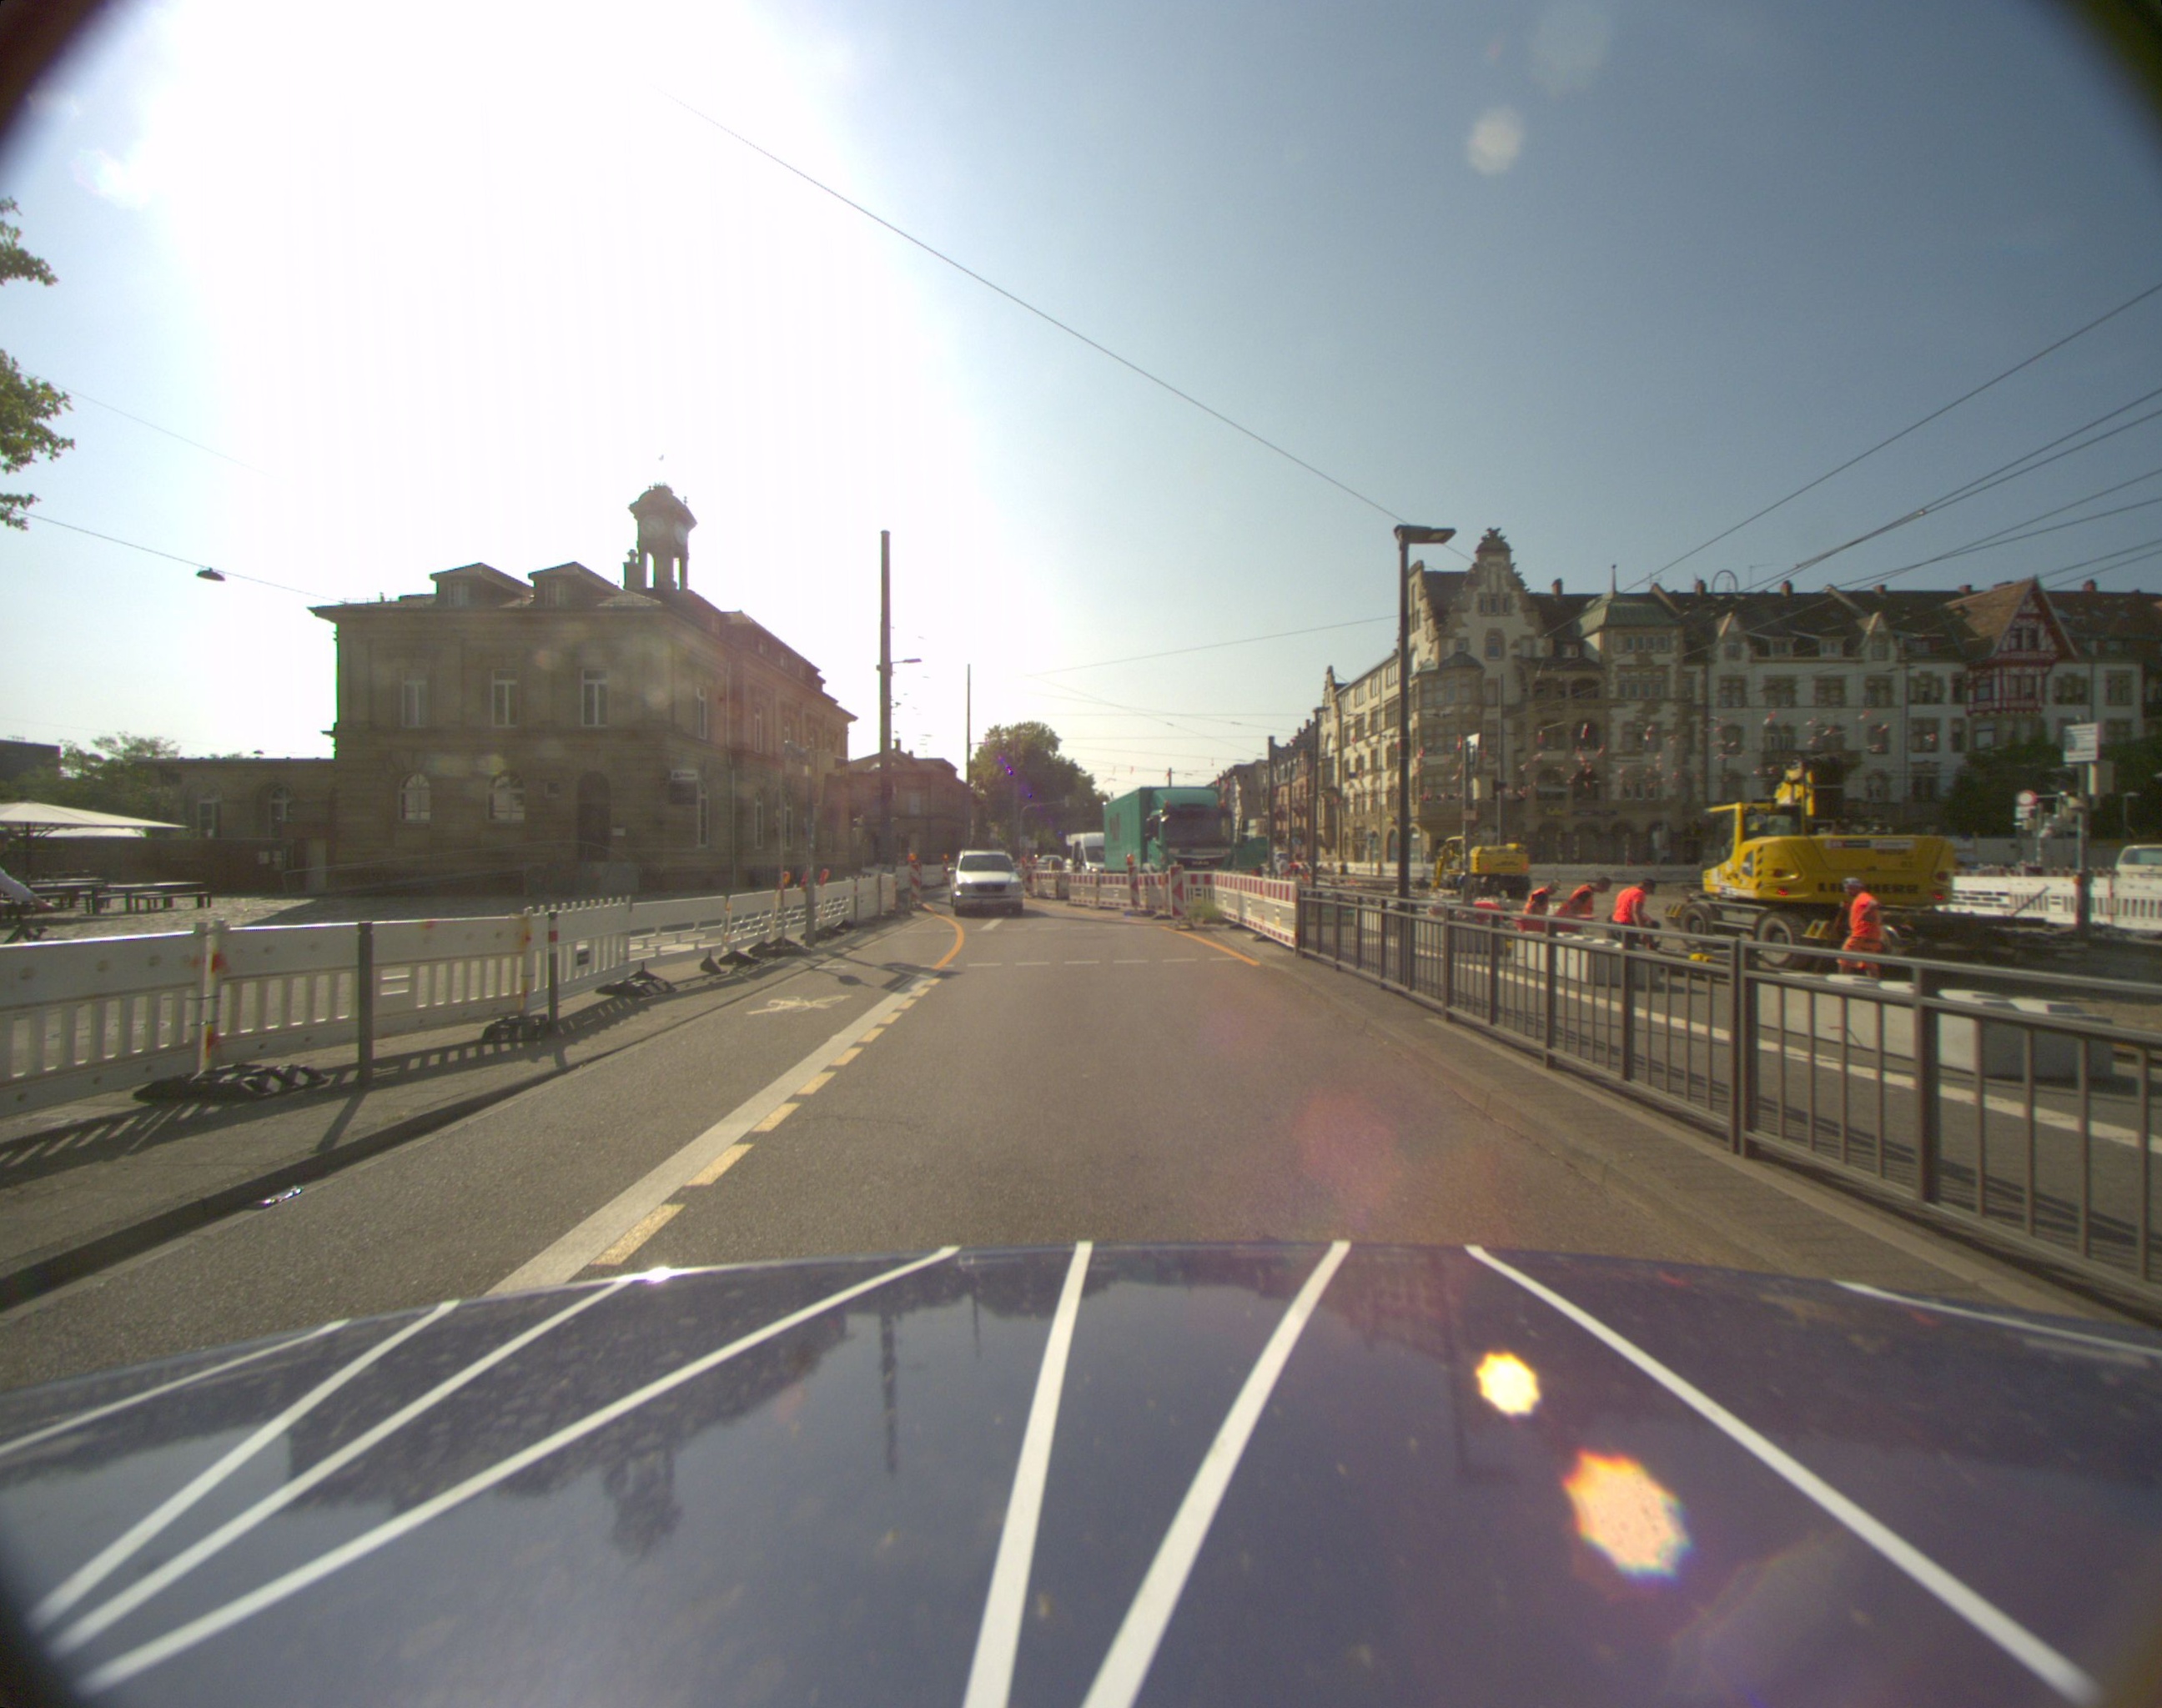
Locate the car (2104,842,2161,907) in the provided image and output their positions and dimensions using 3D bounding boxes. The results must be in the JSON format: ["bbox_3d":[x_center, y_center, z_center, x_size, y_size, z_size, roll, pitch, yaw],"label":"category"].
[{"bbox_3d":[36.356,0.660,24.495,5.119,2.018,1.815,0,0,-9],"label":"car"}]

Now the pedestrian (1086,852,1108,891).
[{"bbox_3d":[0.820,0.897,39.503,0.734,2.002,0.909,1,1,33],"label":"pedestrian"}]

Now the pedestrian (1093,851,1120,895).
[{"bbox_3d":[0.987,0.738,29.519,0.705,1.684,0.767,1,1,37],"label":"pedestrian"}]

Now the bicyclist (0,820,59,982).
[{"bbox_3d":[-10.594,0.448,7.129,0.719,1.534,0.955,0,0,-1],"label":"bicyclist"}]

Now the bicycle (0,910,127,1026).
[{"bbox_3d":[-10.594,1.111,7.204,0.719,1.036,1.903,0,0,-1],"label":"bicycle"}]

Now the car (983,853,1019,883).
[{"bbox_3d":[-4.829,0.820,46.539,1.999,1.685,5.224,0,0,-4],"label":"car"}]

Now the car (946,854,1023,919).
[{"bbox_3d":[-2.798,0.845,22.404,2.000,1.686,5.222,0,0,-6],"label":"car"}]

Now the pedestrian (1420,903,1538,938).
[{"bbox_3d":[8.038,1.339,15.420,1.906,0.632,0.913,0,0,5],"label":"pedestrian"}]

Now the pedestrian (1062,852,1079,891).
[{"bbox_3d":[-0.529,0.892,39.212,0.735,2.002,0.908,1,1,8],"label":"pedestrian"}]

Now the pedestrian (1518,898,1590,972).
[{"bbox_3d":[8.243,1.392,13.287,0.983,1.183,0.800,0,0,25],"label":"pedestrian"}]

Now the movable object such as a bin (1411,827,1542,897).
[{"bbox_3d":[20.484,0.367,40.036,2.853,3.310,8.347,0,0,3],"label":"movable object such as a bin"}]

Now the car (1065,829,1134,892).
[{"bbox_3d":[0.777,0.281,35.675,2.232,2.713,5.165,0,0,-10],"label":"car"}]

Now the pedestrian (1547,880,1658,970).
[{"bbox_3d":[8.114,1.072,11.896,1.313,1.299,0.800,0,0,25],"label":"pedestrian"}]

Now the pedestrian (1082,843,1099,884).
[{"bbox_3d":[0.461,0.479,38.076,0.735,2.002,0.907,1,1,7],"label":"pedestrian"}]

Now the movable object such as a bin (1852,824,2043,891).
[{"bbox_3d":[36.767,0.136,32.374,5.626,2.723,2.135,0,1,1],"label":"movable object such as a bin"}]

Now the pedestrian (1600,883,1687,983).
[{"bbox_3d":[7.930,1.085,10.749,0.838,1.299,0.800,0,0,25],"label":"pedestrian"}]

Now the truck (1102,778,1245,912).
[{"bbox_3d":[2.690,-0.239,25.015,2.682,3.657,8.208,0,0,-8],"label":"truck"}]

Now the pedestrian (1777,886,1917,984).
[{"bbox_3d":[10.930,1.128,10.890,1.017,1.299,0.983,0,0,5],"label":"pedestrian"}]

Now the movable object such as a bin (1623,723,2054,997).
[{"bbox_3d":[14.473,0.106,15.902,3.506,3.989,9.058,0,0,25],"label":"movable object such as a bin"}]

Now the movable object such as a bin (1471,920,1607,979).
[{"bbox_3d":[6.241,1.290,10.447,1.507,0.649,0.702,0,0,22],"label":"movable object such as a bin"}]
